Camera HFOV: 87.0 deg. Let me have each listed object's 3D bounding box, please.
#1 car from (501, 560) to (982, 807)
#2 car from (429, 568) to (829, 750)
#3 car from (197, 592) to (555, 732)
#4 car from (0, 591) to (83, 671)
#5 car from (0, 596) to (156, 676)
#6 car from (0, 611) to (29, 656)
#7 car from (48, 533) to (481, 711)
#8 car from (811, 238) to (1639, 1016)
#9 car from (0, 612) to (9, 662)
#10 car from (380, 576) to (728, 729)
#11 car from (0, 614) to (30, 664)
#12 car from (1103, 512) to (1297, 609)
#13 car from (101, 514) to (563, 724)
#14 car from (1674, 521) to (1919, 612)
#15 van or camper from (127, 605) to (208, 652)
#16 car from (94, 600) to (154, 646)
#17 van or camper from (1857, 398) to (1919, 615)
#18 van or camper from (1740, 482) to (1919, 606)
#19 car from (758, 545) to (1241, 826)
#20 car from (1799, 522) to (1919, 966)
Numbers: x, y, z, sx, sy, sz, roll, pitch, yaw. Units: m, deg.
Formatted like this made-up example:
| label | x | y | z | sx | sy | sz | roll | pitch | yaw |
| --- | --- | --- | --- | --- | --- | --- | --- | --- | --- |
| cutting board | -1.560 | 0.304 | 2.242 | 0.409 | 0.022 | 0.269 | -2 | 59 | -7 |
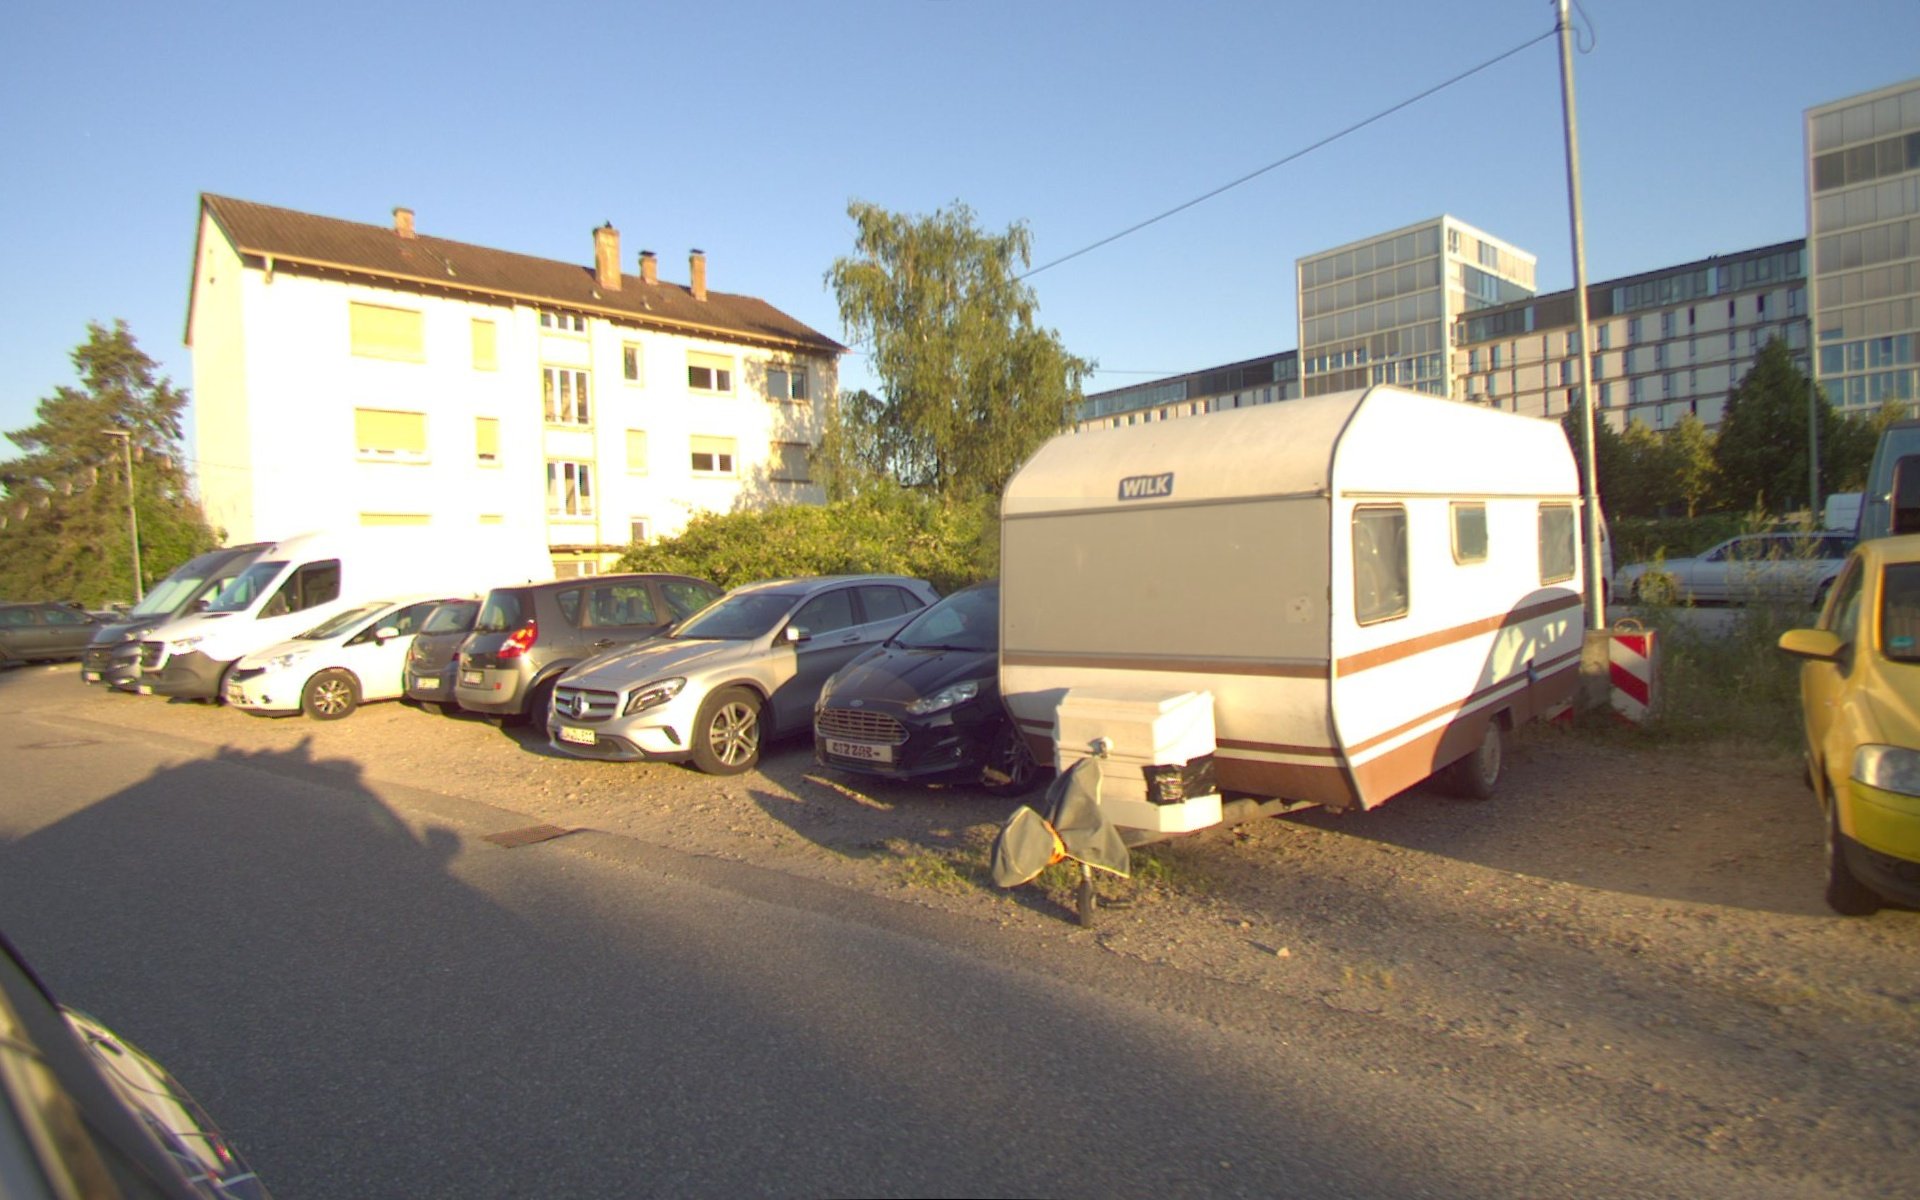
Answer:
| label | x | y | z | sx | sy | sz | roll | pitch | yaw |
| --- | --- | --- | --- | --- | --- | --- | --- | --- | --- |
| car | -1.745 | 0.534 | 9.280 | 1.746 | 1.602 | 4.088 | -1 | 3 | 38 |
| car | -3.589 | 0.527 | 11.425 | 3.881 | 1.602 | 1.749 | -4 | 2 | -45 |
| car | -7.927 | 0.735 | 14.045 | 1.787 | 1.518 | 3.889 | -1 | 2 | 37 |
| car | -24.951 | 0.863 | 25.452 | 1.737 | 1.925 | 3.907 | -3 | 2 | 24 |
| car | -22.382 | 0.886 | 24.768 | 1.746 | 1.664 | 3.887 | -2 | 3 | 40 |
| car | -35.050 | 1.298 | 35.038 | 1.808 | 1.532 | 3.886 | -3 | 1 | 41 |
| car | -12.636 | 0.176 | 19.091 | 2.105 | 2.732 | 6.344 | -1 | 3 | 30 |
| car | 2.190 | -0.066 | 6.277 | 2.412 | 2.552 | 5.825 | -2 | 3 | 43 |
| car | -33.664 | 1.336 | 32.634 | 1.816 | 1.640 | 4.056 | -6 | -1 | 34 |
| car | -5.167 | 0.547 | 13.322 | 1.745 | 1.602 | 3.890 | 0 | 2 | 37 |
| car | -31.459 | 1.294 | 31.231 | 1.642 | 1.528 | 3.885 | 0 | 2 | 41 |
| car | 4.236 | -0.703 | 17.548 | 1.666 | 1.487 | 3.565 | -2 | 2 | 44 |
| car | -9.601 | 0.090 | 16.137 | 2.046 | 2.733 | 5.777 | -2 | 3 | 35 |
| car | 15.529 | -0.563 | 18.566 | 1.684 | 1.472 | 3.686 | -2 | 0 | -44 |
| van or camper | -49.797 | 1.793 | 63.550 | 5.785 | 2.791 | 2.237 | -2 | 1 | 34 |
| car | -44.821 | 1.267 | 54.212 | 4.822 | 2.165 | 1.823 | -5 | -1 | 43 |
| van or camper | 10.360 | -0.948 | 9.977 | 4.287 | 1.905 | 1.934 | -4 | 2 | -44 |
| van or camper | 21.953 | -1.309 | 22.828 | 1.991 | 2.710 | 6.646 | -5 | 3 | -43 |
| car | 0.564 | 0.439 | 8.230 | 1.747 | 1.602 | 4.085 | -1 | 3 | 40 |
| car | 4.898 | 0.389 | 4.474 | 1.703 | 1.530 | 3.594 | -2 | 2 | 38 |
